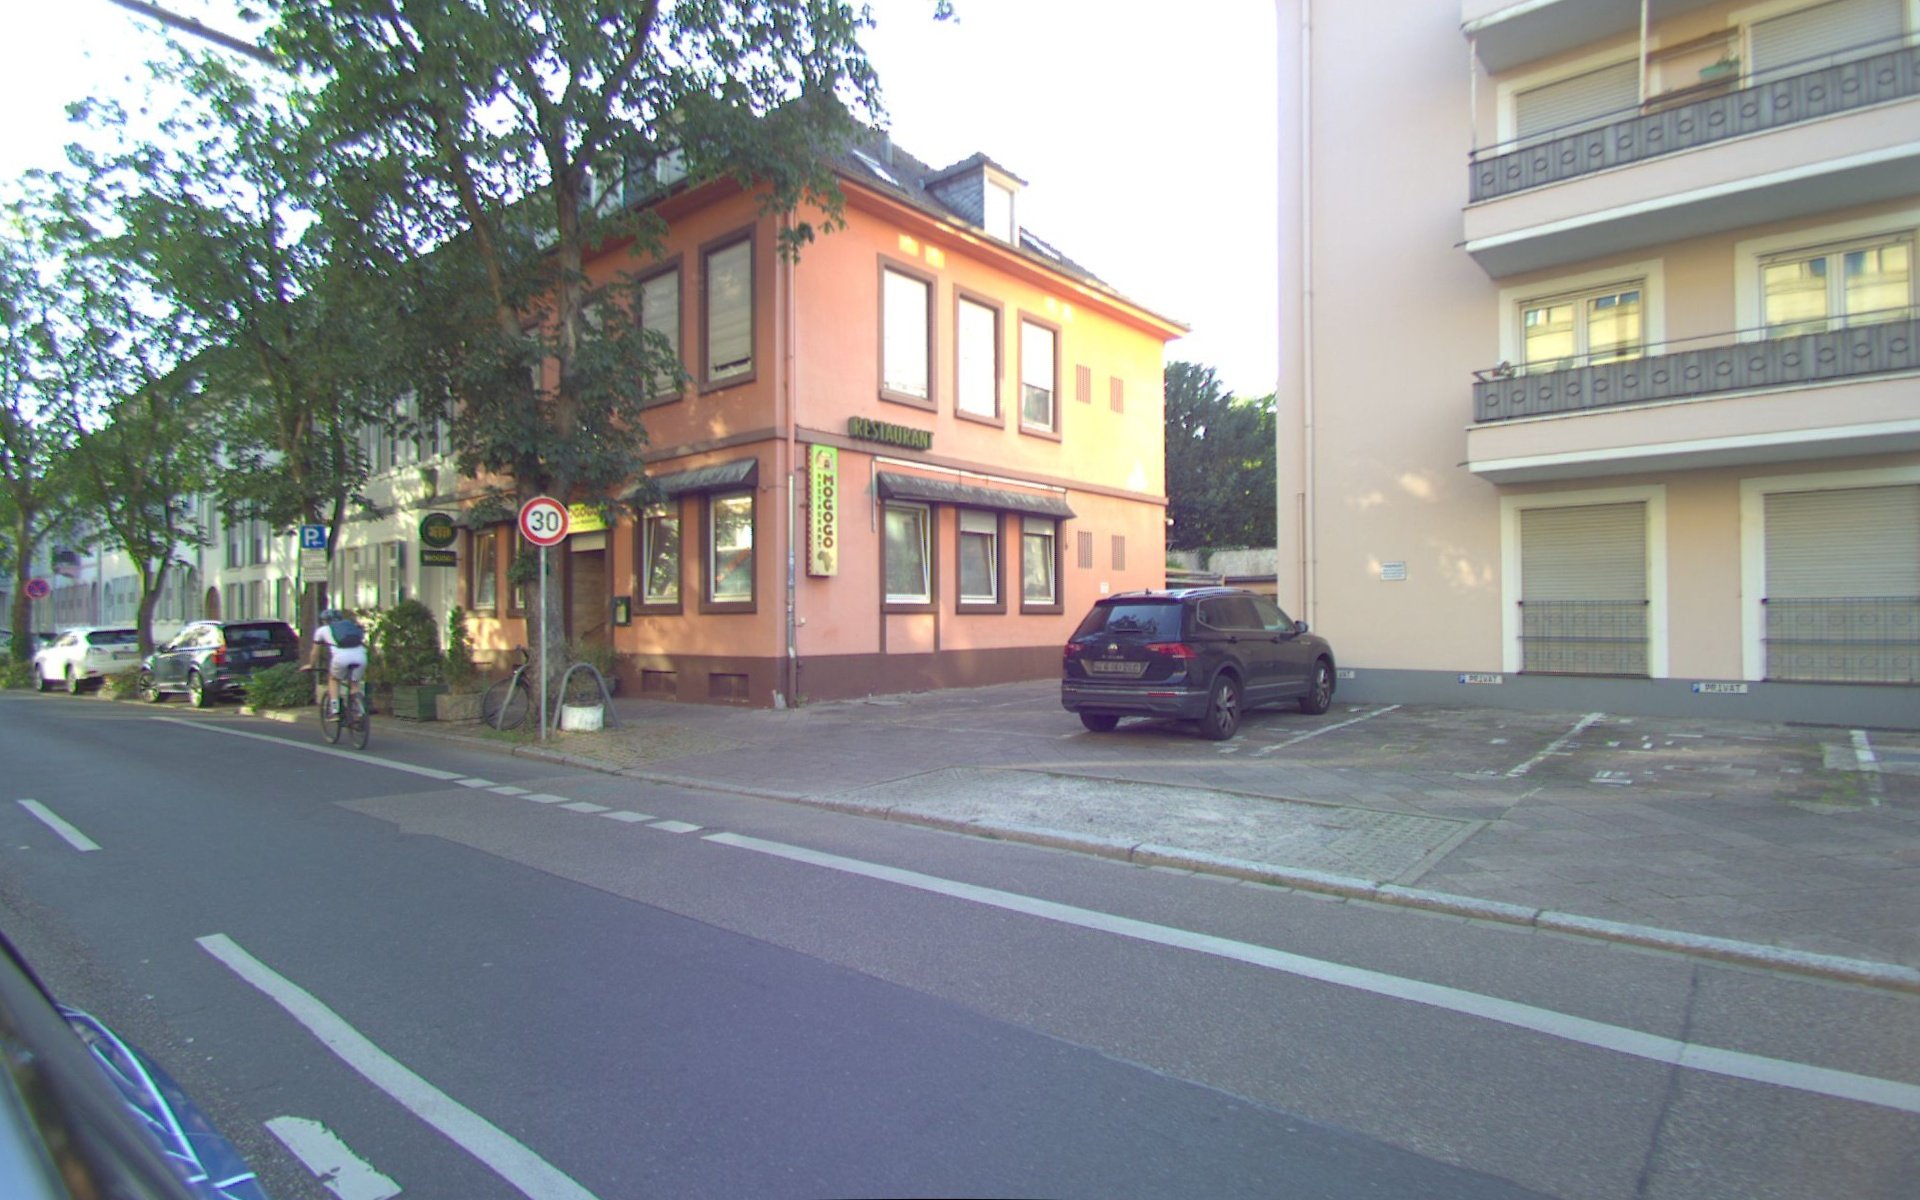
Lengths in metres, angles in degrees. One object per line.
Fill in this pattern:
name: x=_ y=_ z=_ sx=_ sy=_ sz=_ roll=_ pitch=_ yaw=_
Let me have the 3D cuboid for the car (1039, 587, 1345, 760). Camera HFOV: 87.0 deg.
car: x=2.999 y=0.731 z=12.347 sx=1.862 sy=1.678 sz=4.375 roll=-2 pitch=0 yaw=39

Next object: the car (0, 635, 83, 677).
car: x=-37.031 y=2.186 z=39.445 sx=1.801 sy=1.557 sz=4.172 roll=-2 pitch=-2 yaw=43

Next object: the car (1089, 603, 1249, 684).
car: x=4.573 y=0.892 z=21.818 sx=1.884 sy=1.567 sz=3.762 roll=-2 pitch=-2 yaw=38

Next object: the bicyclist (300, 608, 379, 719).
bicyclist: x=-8.038 y=0.792 z=13.105 sx=0.929 sy=1.375 sz=0.618 roll=0 pitch=-1 yaw=41

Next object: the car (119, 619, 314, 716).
car: x=-16.233 y=1.395 z=22.005 sx=5.036 sy=1.772 sz=1.813 roll=-2 pitch=2 yaw=35

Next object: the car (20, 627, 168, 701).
car: x=-23.096 y=1.640 z=26.929 sx=4.645 sy=1.680 sz=1.813 roll=-2 pitch=2 yaw=35

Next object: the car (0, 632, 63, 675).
car: x=-39.300 y=2.188 z=40.996 sx=1.798 sy=1.703 sz=4.179 roll=-2 pitch=-2 yaw=38

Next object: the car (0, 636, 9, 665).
car: x=-52.874 y=2.683 z=53.077 sx=1.798 sy=1.519 sz=4.179 roll=-2 pitch=-2 yaw=38

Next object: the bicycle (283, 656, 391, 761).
bicycle: x=-8.142 y=1.366 z=13.184 sx=2.052 sy=1.164 sz=0.618 roll=0 pitch=-1 yaw=41

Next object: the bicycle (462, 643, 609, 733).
bicycle: x=-5.831 y=1.178 z=13.993 sx=0.609 sy=1.112 sz=1.851 roll=-2 pitch=-1 yaw=34
